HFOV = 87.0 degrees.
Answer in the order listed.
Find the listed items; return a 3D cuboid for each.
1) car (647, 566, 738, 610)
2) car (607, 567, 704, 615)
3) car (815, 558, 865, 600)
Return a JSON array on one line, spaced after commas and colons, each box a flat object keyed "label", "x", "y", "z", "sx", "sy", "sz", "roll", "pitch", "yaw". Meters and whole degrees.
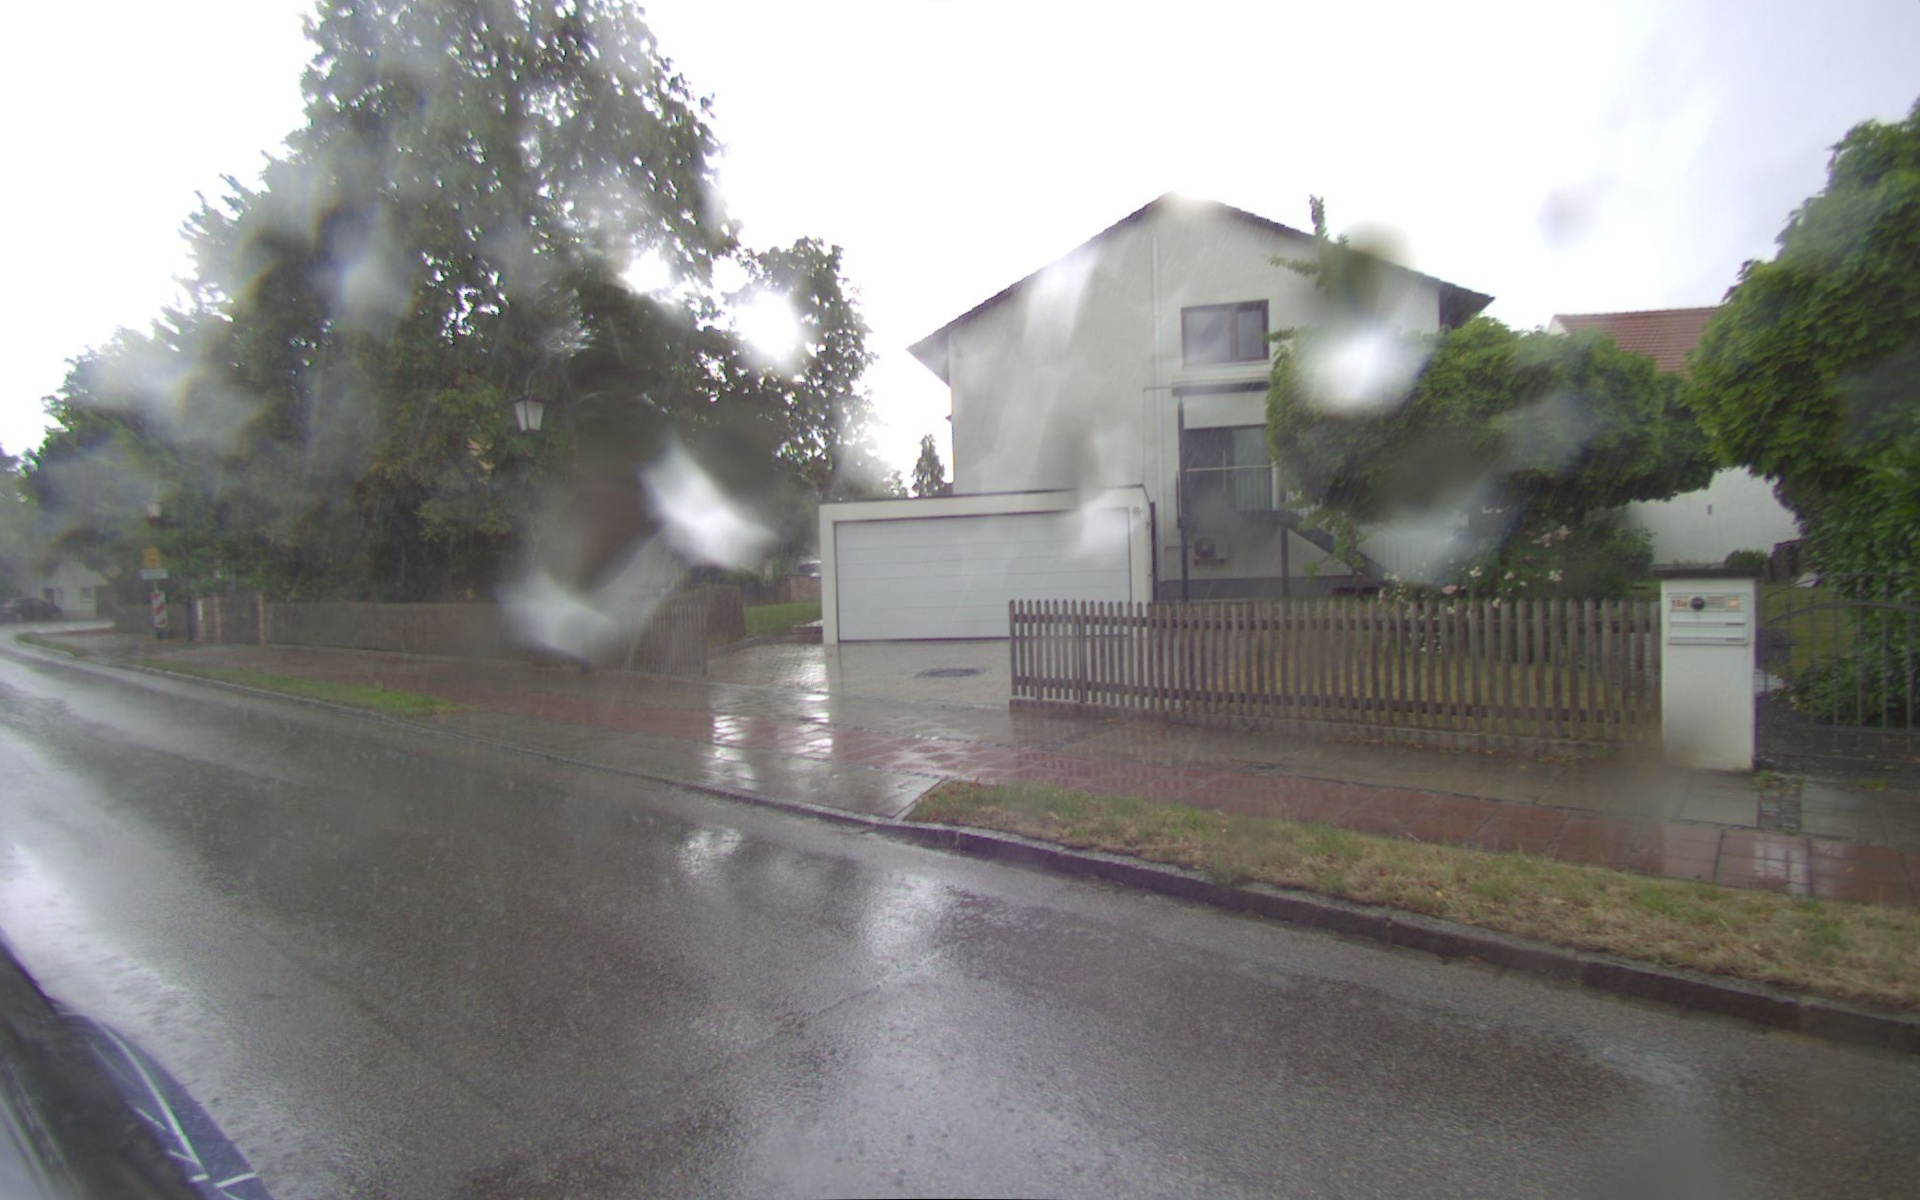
[{"label": "car", "x": -12.599, "y": -0.577, "z": 47.788, "sx": 3.614, "sy": 1.815, "sz": 1.839, "roll": -3, "pitch": 2, "yaw": 8}, {"label": "car", "x": -13.473, "y": -0.417, "z": 44.902, "sx": 3.614, "sy": 1.815, "sz": 1.839, "roll": -3, "pitch": 2, "yaw": 8}, {"label": "car", "x": -6.909, "y": -1.200, "z": 58.551, "sx": 1.768, "sy": 2.311, "sz": 3.838, "roll": -1, "pitch": 0, "yaw": 11}]
